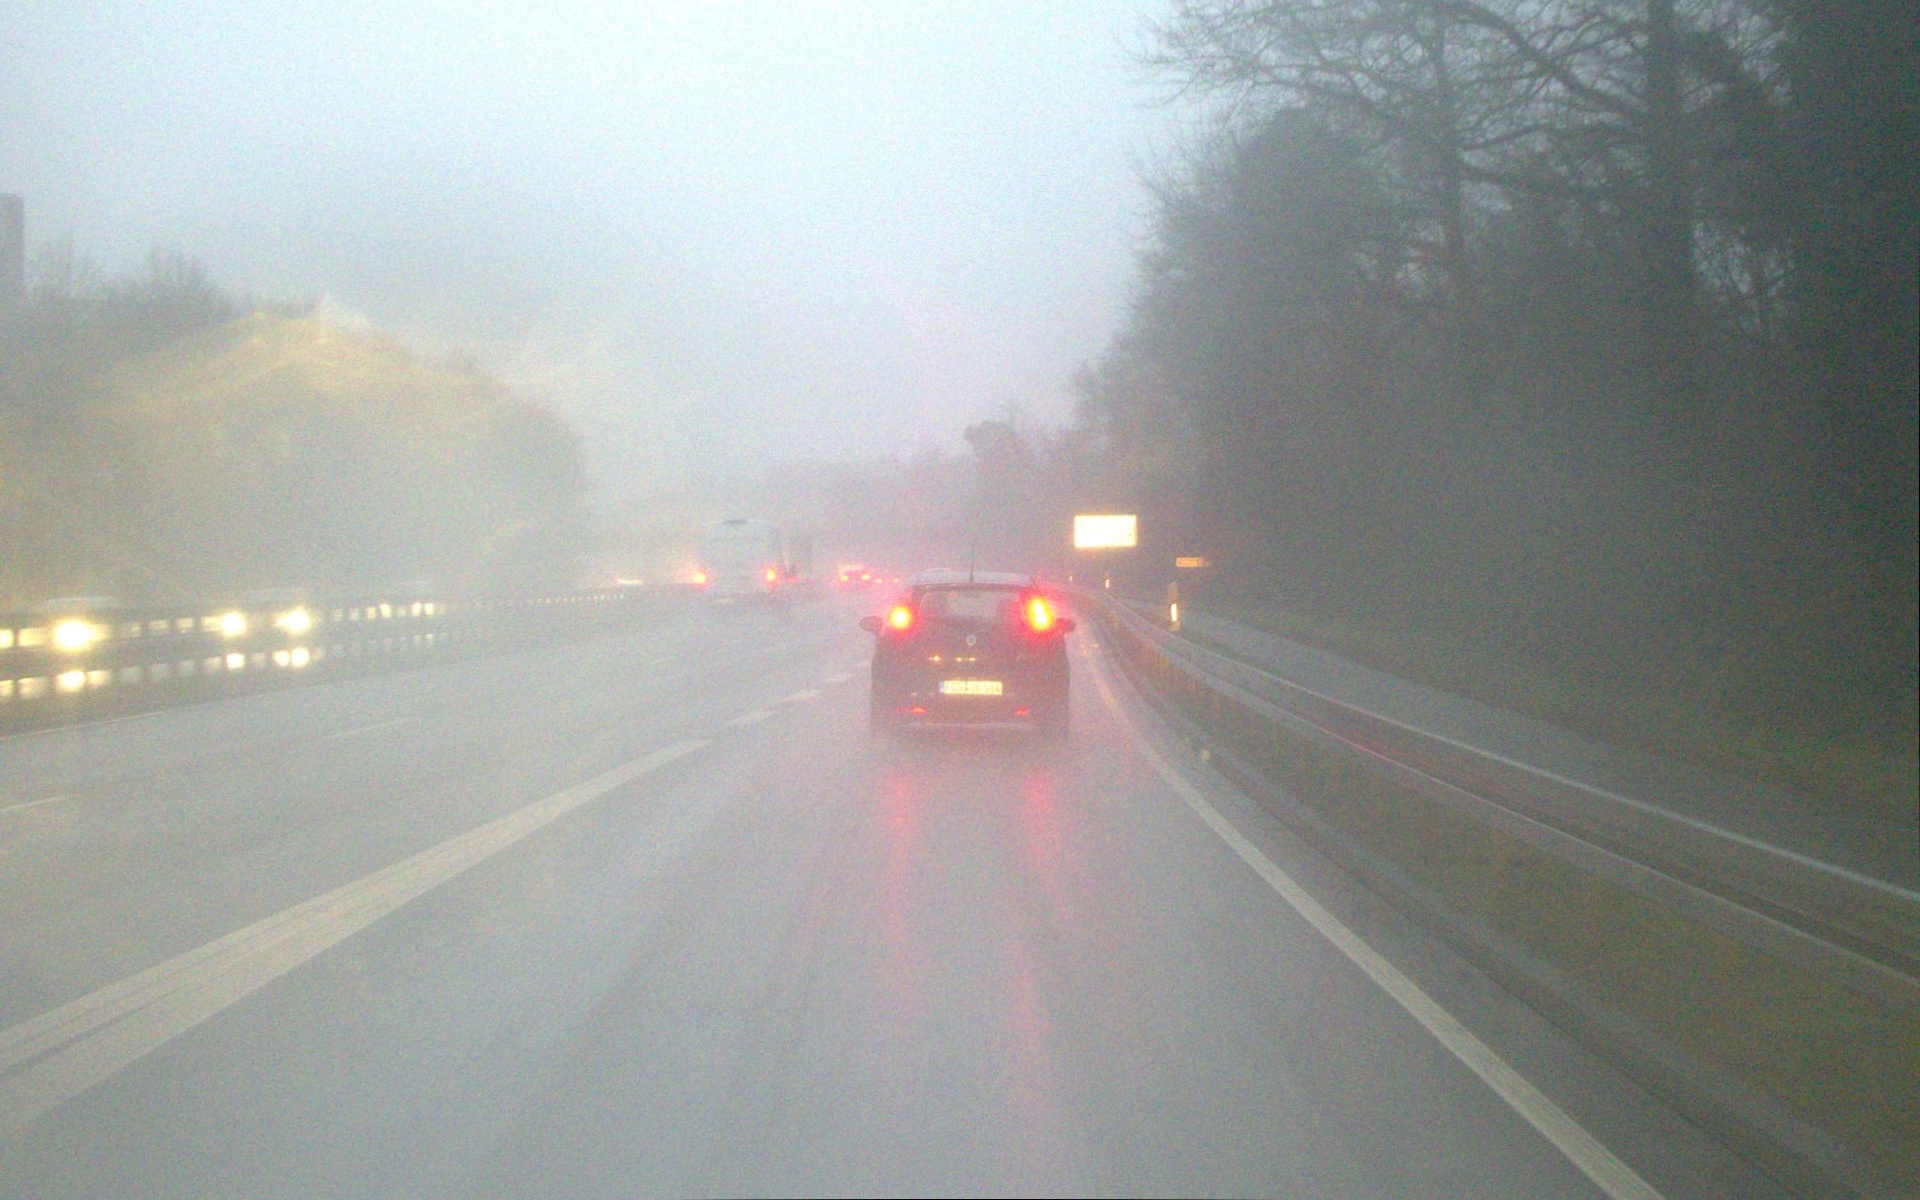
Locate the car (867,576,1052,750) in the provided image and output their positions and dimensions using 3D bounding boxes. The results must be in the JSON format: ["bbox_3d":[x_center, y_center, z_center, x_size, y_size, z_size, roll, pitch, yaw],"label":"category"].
[{"bbox_3d":[-0.043,0.517,30.497,1.527,1.411,3.479,1,1,-1],"label":"car"}]

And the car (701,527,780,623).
[{"bbox_3d":[-5.781,-0.666,90.667,2.000,2.445,4.001,1,1,-3],"label":"car"}]

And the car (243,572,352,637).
[{"bbox_3d":[-15.490,0.083,80.544,1.545,1.438,4.361,1,1,2],"label":"car"}]
